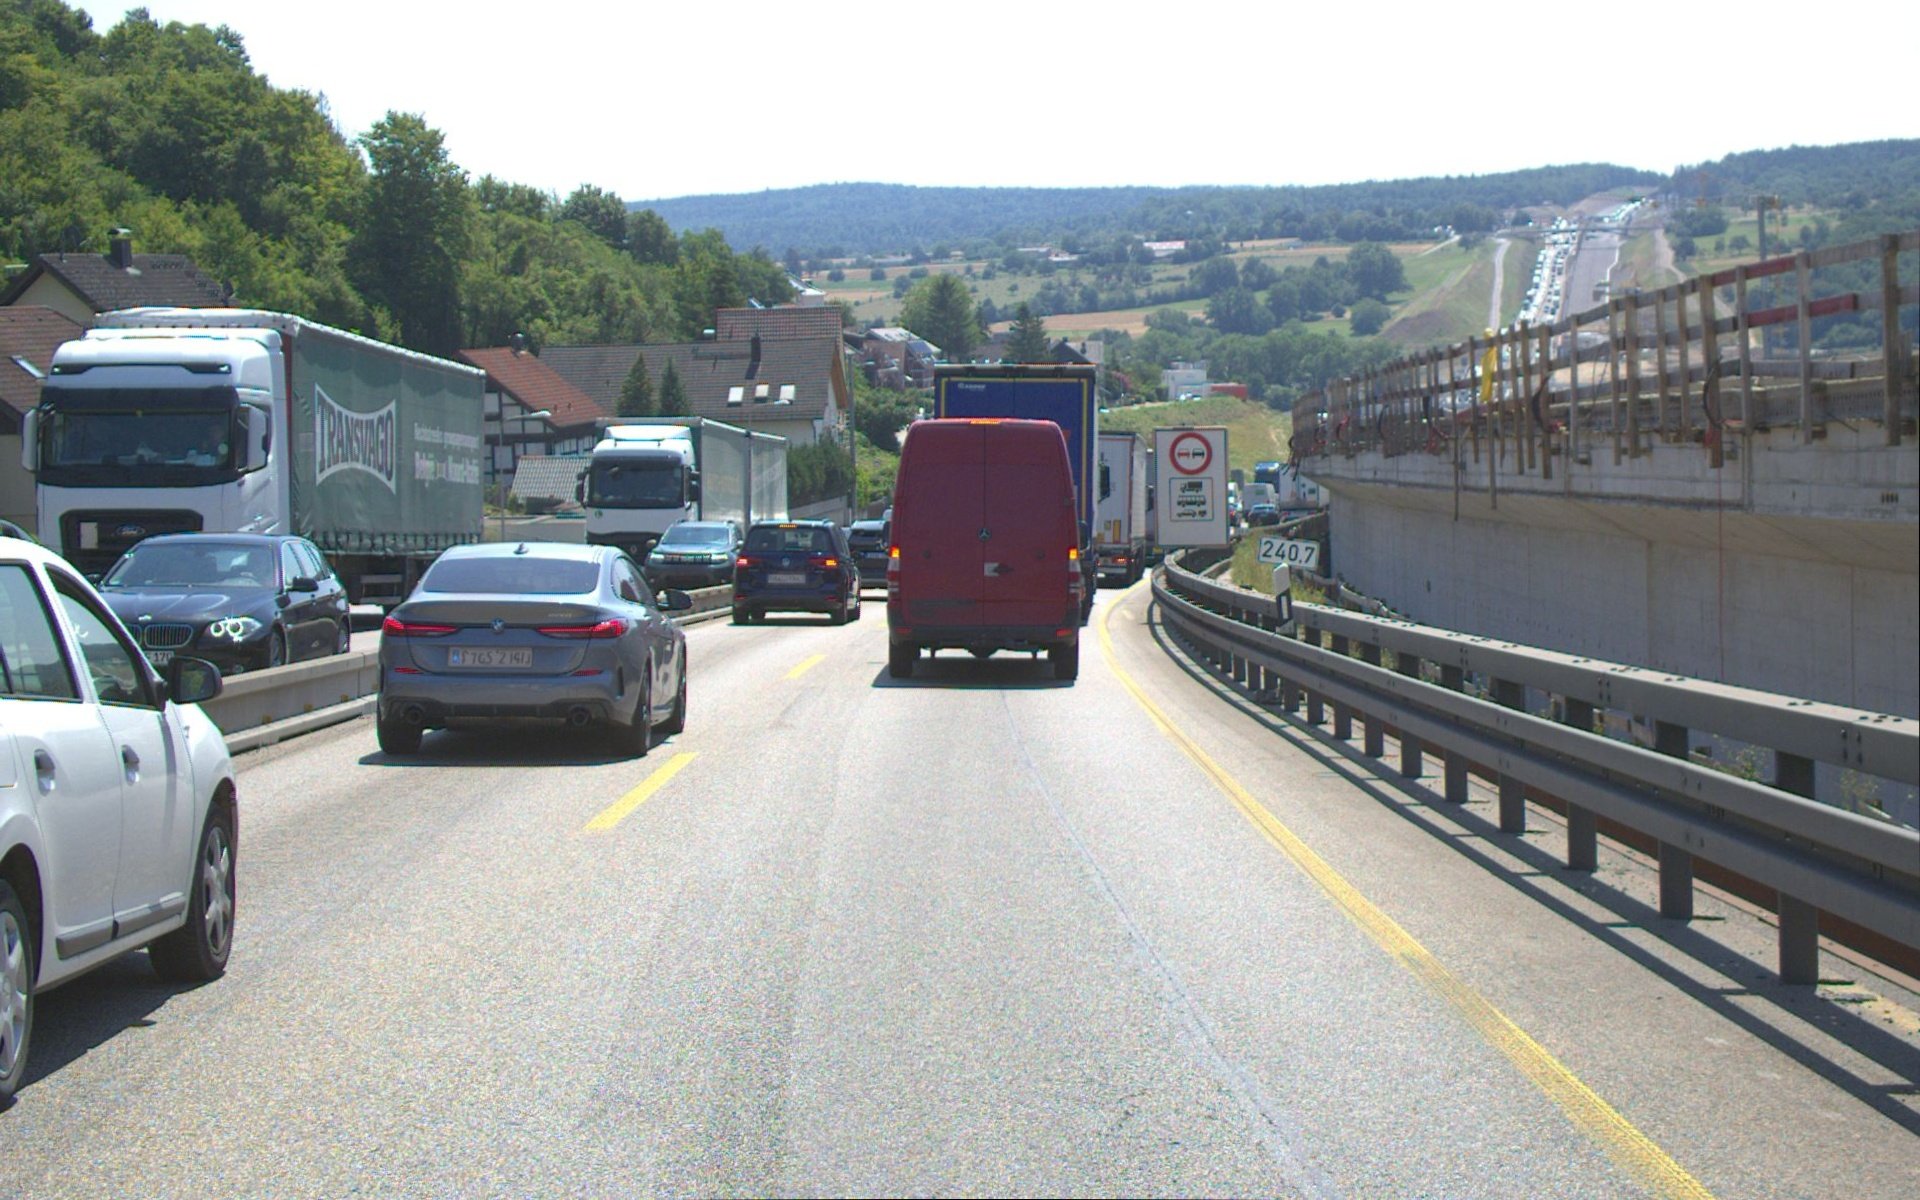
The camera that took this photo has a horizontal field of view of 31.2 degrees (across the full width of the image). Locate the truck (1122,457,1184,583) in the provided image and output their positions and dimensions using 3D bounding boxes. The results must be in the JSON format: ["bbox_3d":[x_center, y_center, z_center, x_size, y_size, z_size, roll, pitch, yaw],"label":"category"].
[{"bbox_3d":[6.870,-2.803,122.196,1.994,4.366,3.999,1,0,6],"label":"truck"}]

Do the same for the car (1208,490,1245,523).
[{"bbox_3d":[16.618,-5.849,214.484,1.804,2.007,3.998,1,1,11],"label":"car"}]

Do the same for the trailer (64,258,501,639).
[{"bbox_3d":[-9.484,-2.052,50.356,3.064,4.799,14.001,0,1,3],"label":"trailer"}]

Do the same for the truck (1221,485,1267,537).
[{"bbox_3d":[8.797,-2.746,106.579,1.314,1.537,3.151,1,0,3],"label":"truck"}]

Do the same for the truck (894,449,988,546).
[{"bbox_3d":[-0.775,-4.594,154.095,2.979,4.148,10.543,1,2,6],"label":"truck"}]

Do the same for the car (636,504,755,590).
[{"bbox_3d":[-5.248,-1.063,68.666,1.957,1.675,4.114,0,1,2],"label":"car"}]

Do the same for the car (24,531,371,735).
[{"bbox_3d":[-6.607,0.252,30.327,1.993,1.634,4.854,1,0,0],"label":"car"}]

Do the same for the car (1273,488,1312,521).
[{"bbox_3d":[21.591,-6.192,223.407,2.132,2.007,3.998,1,0,11],"label":"car"}]

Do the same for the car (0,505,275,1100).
[{"bbox_3d":[-3.229,0.513,9.816,1.651,1.478,4.267,-2,1,0],"label":"car"}]

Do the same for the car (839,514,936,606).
[{"bbox_3d":[-1.473,-0.815,70.911,1.729,1.832,4.000,1,0,3],"label":"car"}]

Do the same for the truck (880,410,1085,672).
[{"bbox_3d":[0.235,-0.591,35.995,1.993,2.570,4.000,1,0,0],"label":"truck"}]

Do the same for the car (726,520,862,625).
[{"bbox_3d":[-2.607,-0.433,54.671,1.810,1.602,3.719,1,0,3],"label":"car"}]

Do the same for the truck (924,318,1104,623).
[{"bbox_3d":[0.954,-2.070,59.118,2.786,4.799,9.685,1,0,1],"label":"truck"}]

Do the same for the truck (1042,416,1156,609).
[{"bbox_3d":[3.591,-2.227,90.871,2.786,4.799,9.685,1,0,1],"label":"truck"}]

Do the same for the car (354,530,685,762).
[{"bbox_3d":[-2.970,0.256,23.958,1.794,1.480,4.050,0,1,0],"label":"car"}]

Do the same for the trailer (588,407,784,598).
[{"bbox_3d":[-7.041,-2.419,90.899,2.834,4.625,14.578,1,0,5],"label":"trailer"}]

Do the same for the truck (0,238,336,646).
[{"bbox_3d":[-9.822,-1.908,42.911,3.061,4.805,4.645,0,1,2],"label":"truck"}]

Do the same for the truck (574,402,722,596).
[{"bbox_3d":[-7.559,-2.398,84.063,2.846,4.564,5.787,1,0,2],"label":"truck"}]
